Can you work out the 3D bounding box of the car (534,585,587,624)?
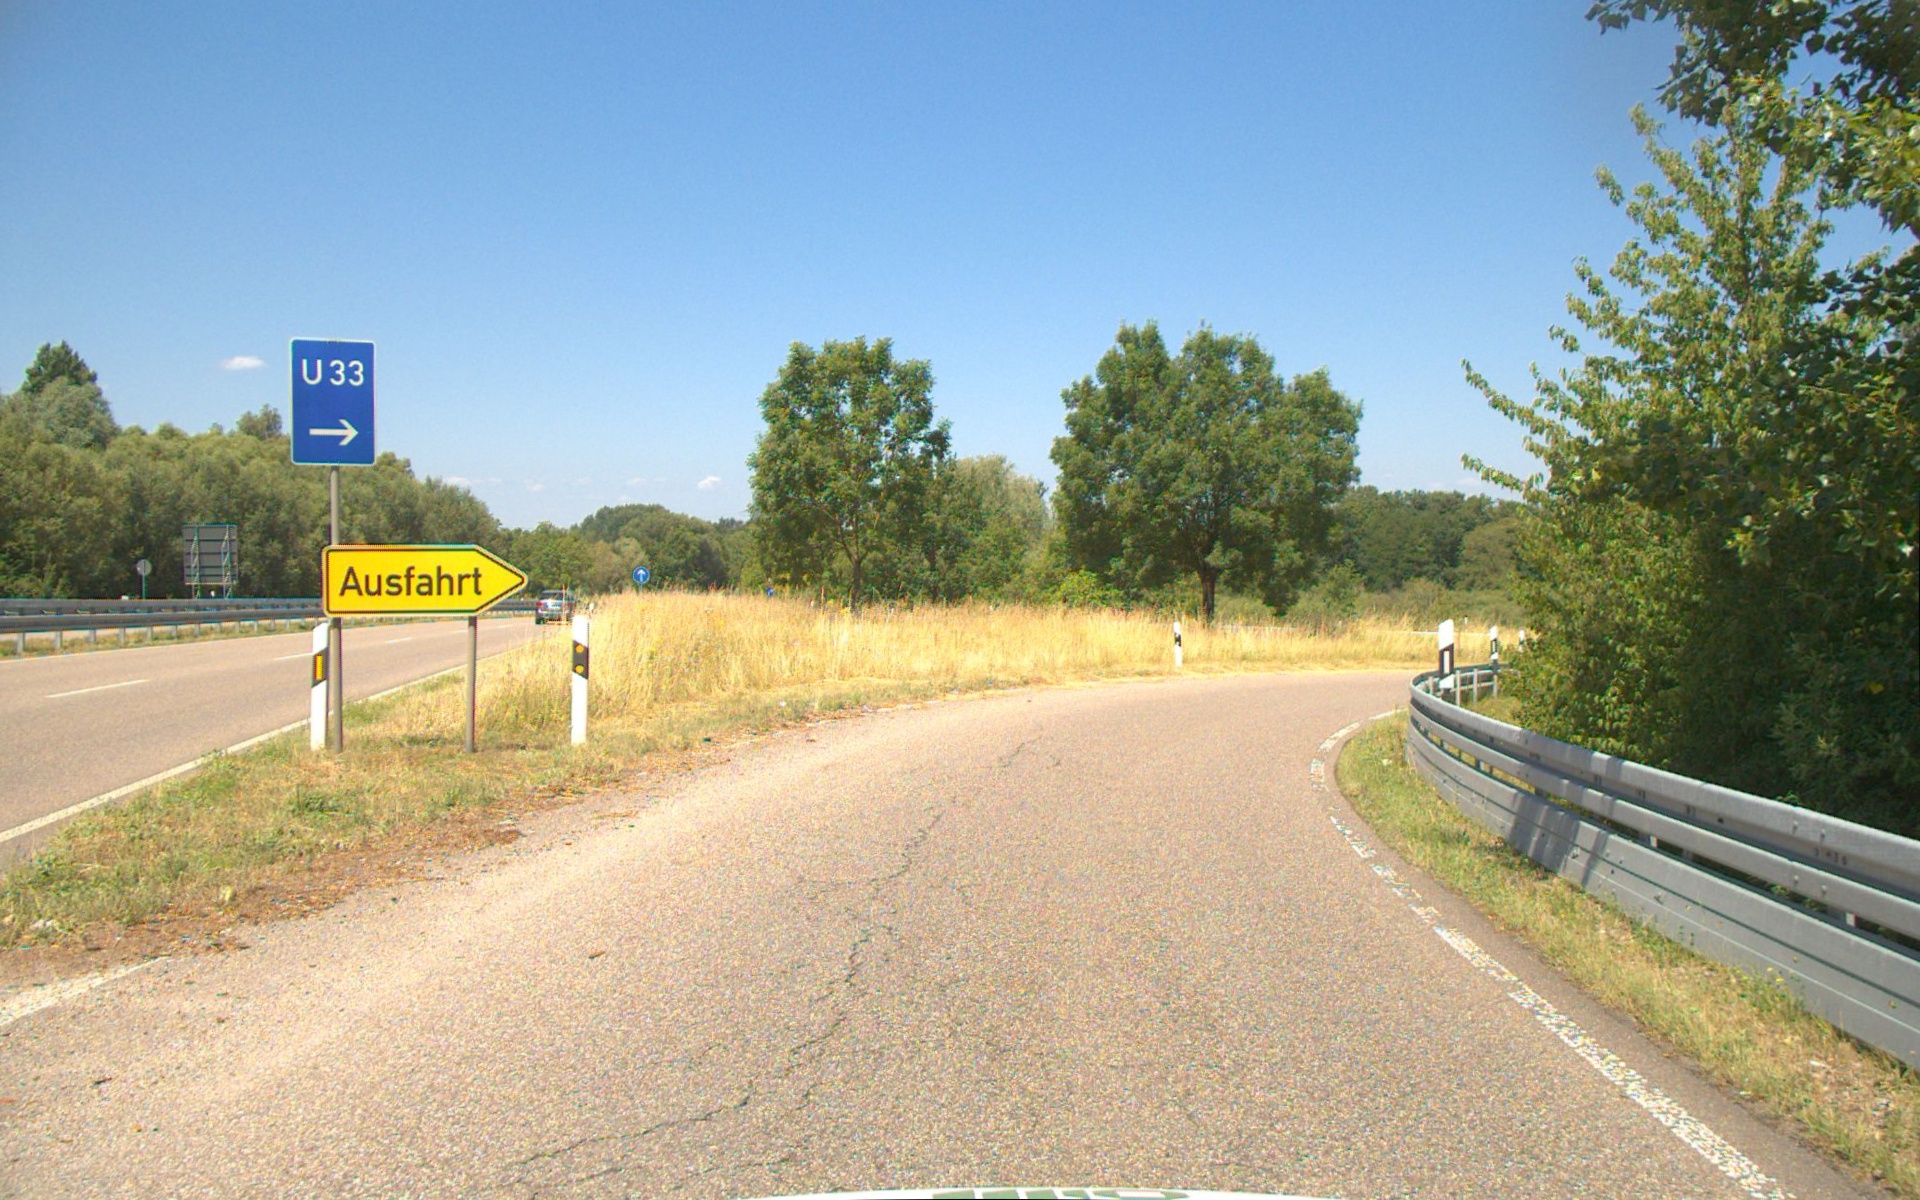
[{"bbox_3d":[-18.499,0.182,76.713,1.998,1.702,3.991,2,0,-9],"label":"car"}]
